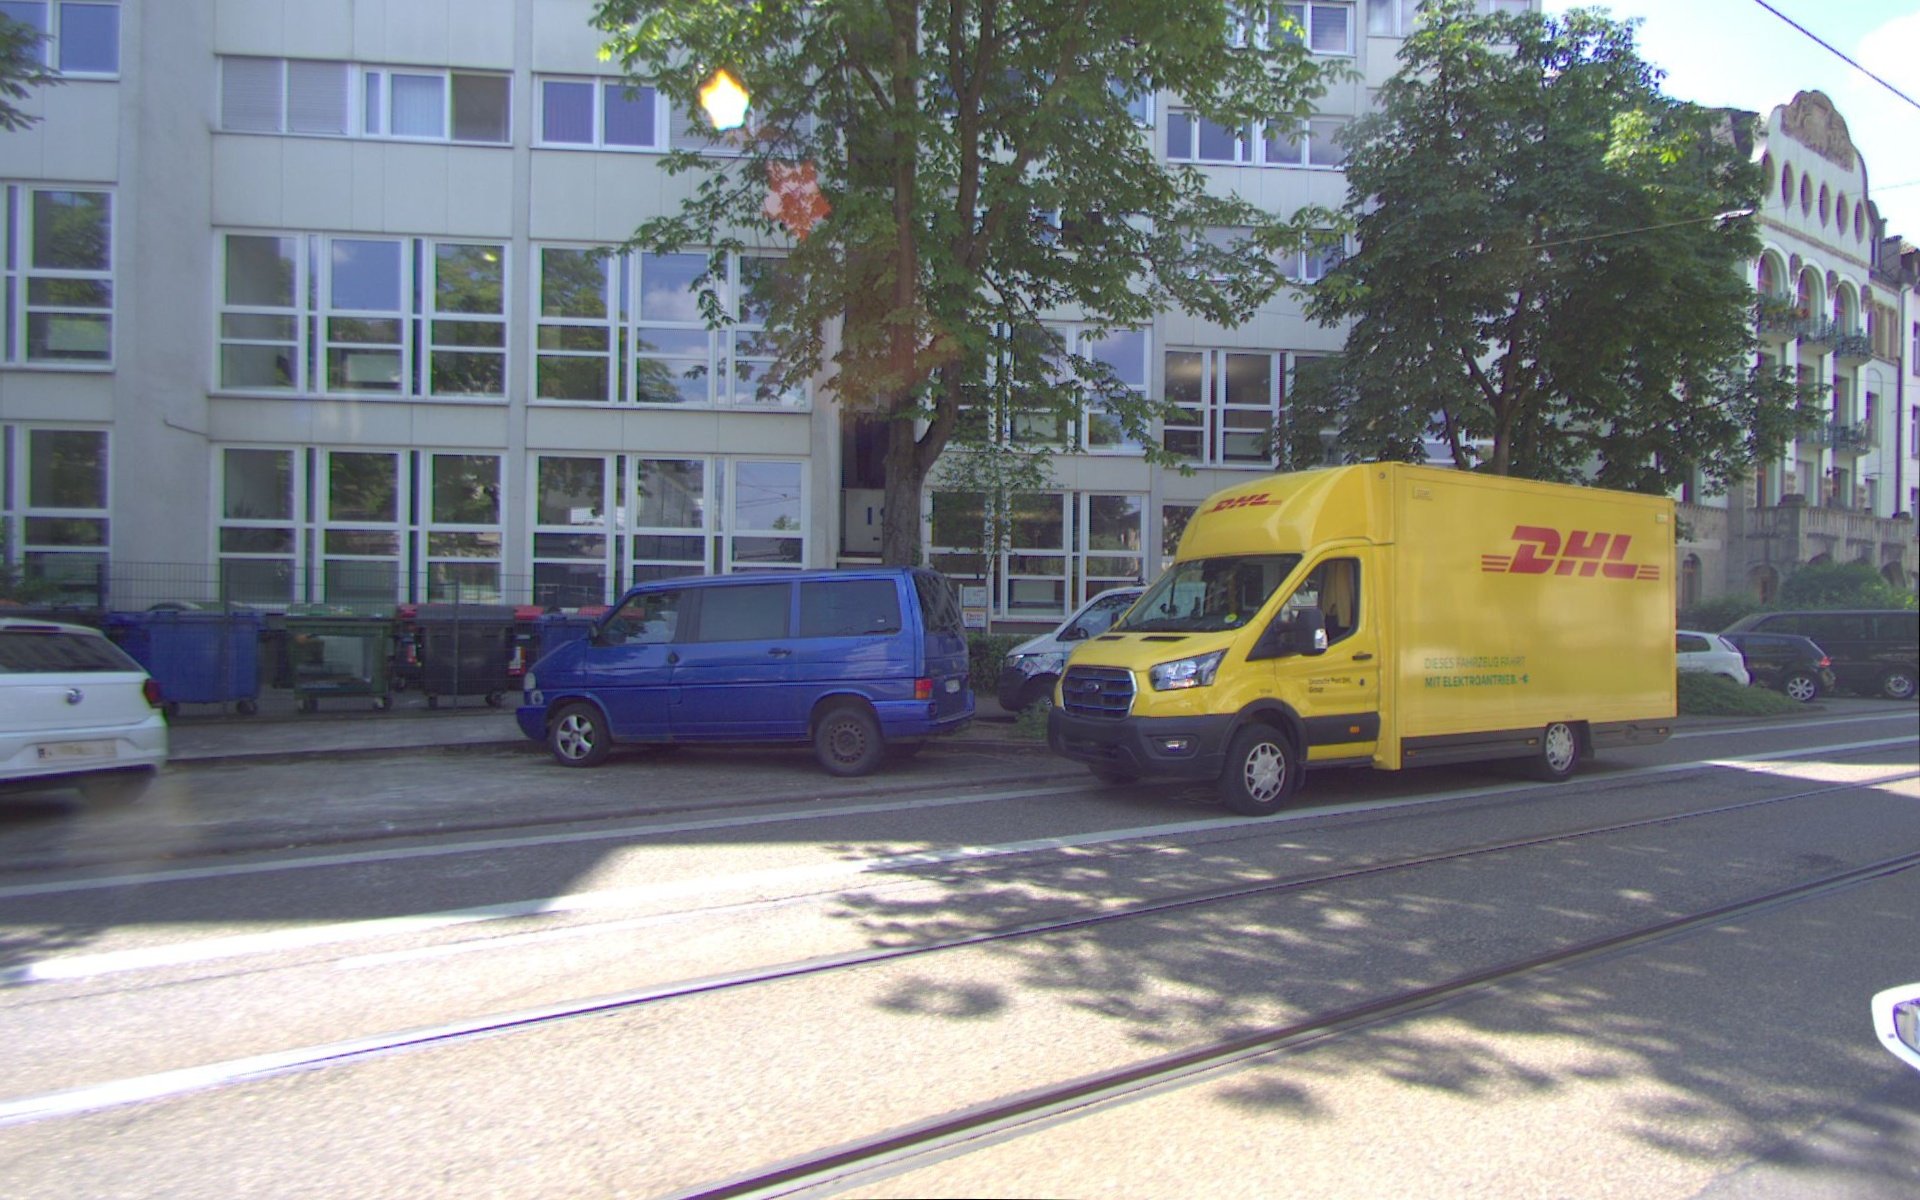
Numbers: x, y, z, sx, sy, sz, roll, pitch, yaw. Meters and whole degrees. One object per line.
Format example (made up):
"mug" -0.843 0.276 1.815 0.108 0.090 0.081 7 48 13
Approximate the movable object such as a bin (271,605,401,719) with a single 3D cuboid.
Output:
"movable object such as a bin" -8.471 0.804 13.745 1.407 1.428 1.754 1 -1 -30

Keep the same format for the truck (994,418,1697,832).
"truck" 4.038 0.239 9.852 7.288 2.890 2.350 1 -1 -29

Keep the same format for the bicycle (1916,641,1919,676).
"bicycle" 27.911 1.653 28.472 2.222 0.982 0.540 1 1 -30

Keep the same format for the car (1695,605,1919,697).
"car" 19.962 1.155 23.311 4.400 1.966 1.704 1 -1 22

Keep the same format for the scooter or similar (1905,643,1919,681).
"scooter or similar" 26.346 1.697 27.402 0.946 0.982 0.540 1 1 -30

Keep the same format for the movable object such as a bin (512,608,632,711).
"movable object such as a bin" -5.831 0.845 15.032 1.407 1.428 1.754 1 -1 -30

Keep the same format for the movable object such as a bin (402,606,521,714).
"movable object such as a bin" -7.170 0.824 14.406 1.407 1.428 1.754 1 -1 -30

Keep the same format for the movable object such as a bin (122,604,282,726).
"movable object such as a bin" -9.636 0.787 12.890 1.407 1.428 1.754 1 -1 -30

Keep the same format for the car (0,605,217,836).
"car" -7.857 0.824 7.305 3.919 1.452 1.764 -1 -3 12

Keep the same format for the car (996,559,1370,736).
"car" 3.023 0.616 13.666 4.670 2.089 2.026 -1 -2 21

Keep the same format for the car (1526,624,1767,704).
"car" 14.013 1.272 20.727 3.735 1.476 1.706 1 -1 15

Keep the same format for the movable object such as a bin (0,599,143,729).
"movable object such as a bin" -10.850 0.726 11.942 1.472 1.428 1.754 1 -1 -30

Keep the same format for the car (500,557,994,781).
"car" -2.116 0.657 10.364 4.636 1.981 1.848 -1 -2 14

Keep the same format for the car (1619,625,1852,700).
"car" 16.947 1.341 22.152 3.737 1.476 1.634 1 -1 20
